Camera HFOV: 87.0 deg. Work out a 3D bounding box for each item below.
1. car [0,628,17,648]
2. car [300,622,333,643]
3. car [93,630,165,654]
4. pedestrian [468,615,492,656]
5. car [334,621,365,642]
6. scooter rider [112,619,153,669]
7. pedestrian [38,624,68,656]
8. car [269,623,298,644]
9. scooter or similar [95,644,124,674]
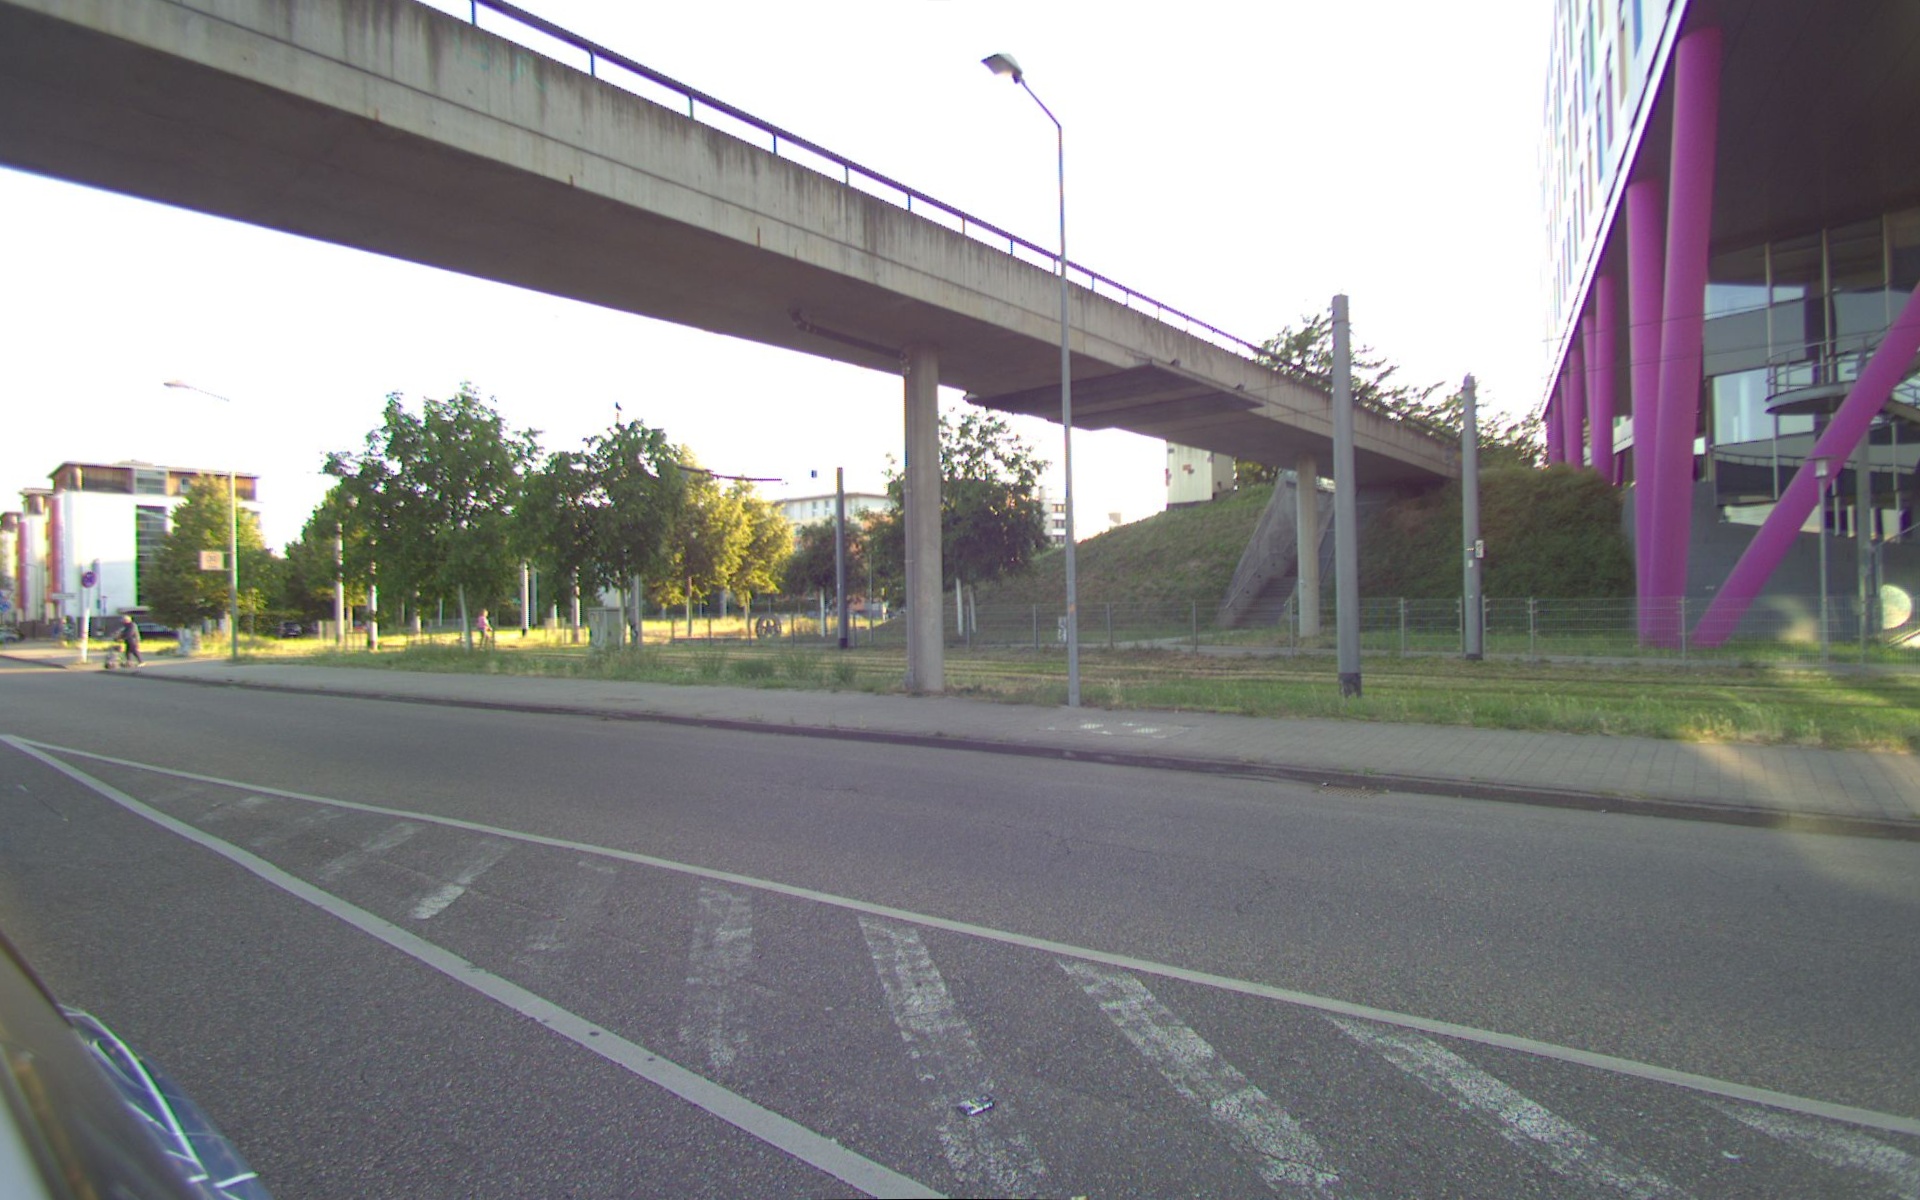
[{"bbox_3d":[-80.768,3.172,83.407,1.839,1.571,4.330,-1,0,42],"label":"car"},{"bbox_3d":[-55.380,2.782,87.055,1.843,1.734,3.851,-1,-1,-40],"label":"car"},{"bbox_3d":[-59.859,3.020,72.947,1.971,1.575,4.001,-1,-1,-1],"label":"car"},{"bbox_3d":[-19.553,1.439,41.226,0.767,1.623,0.417,-1,-1,-38],"label":"pedestrian"},{"bbox_3d":[-53.581,2.758,88.779,1.842,1.734,3.853,-1,-1,-38],"label":"car"},{"bbox_3d":[-26.772,1.408,32.759,0.710,1.589,0.887,-2,-1,37],"label":"scooter rider"},{"bbox_3d":[-57.937,2.541,64.630,1.072,2.029,1.143,-1,0,-21],"label":"pedestrian"},{"bbox_3d":[-57.166,2.812,85.493,1.842,1.734,3.853,-1,-1,-38],"label":"car"},{"bbox_3d":[-27.129,1.884,32.281,0.721,0.902,0.546,-1,-1,38],"label":"scooter or similar"}]
